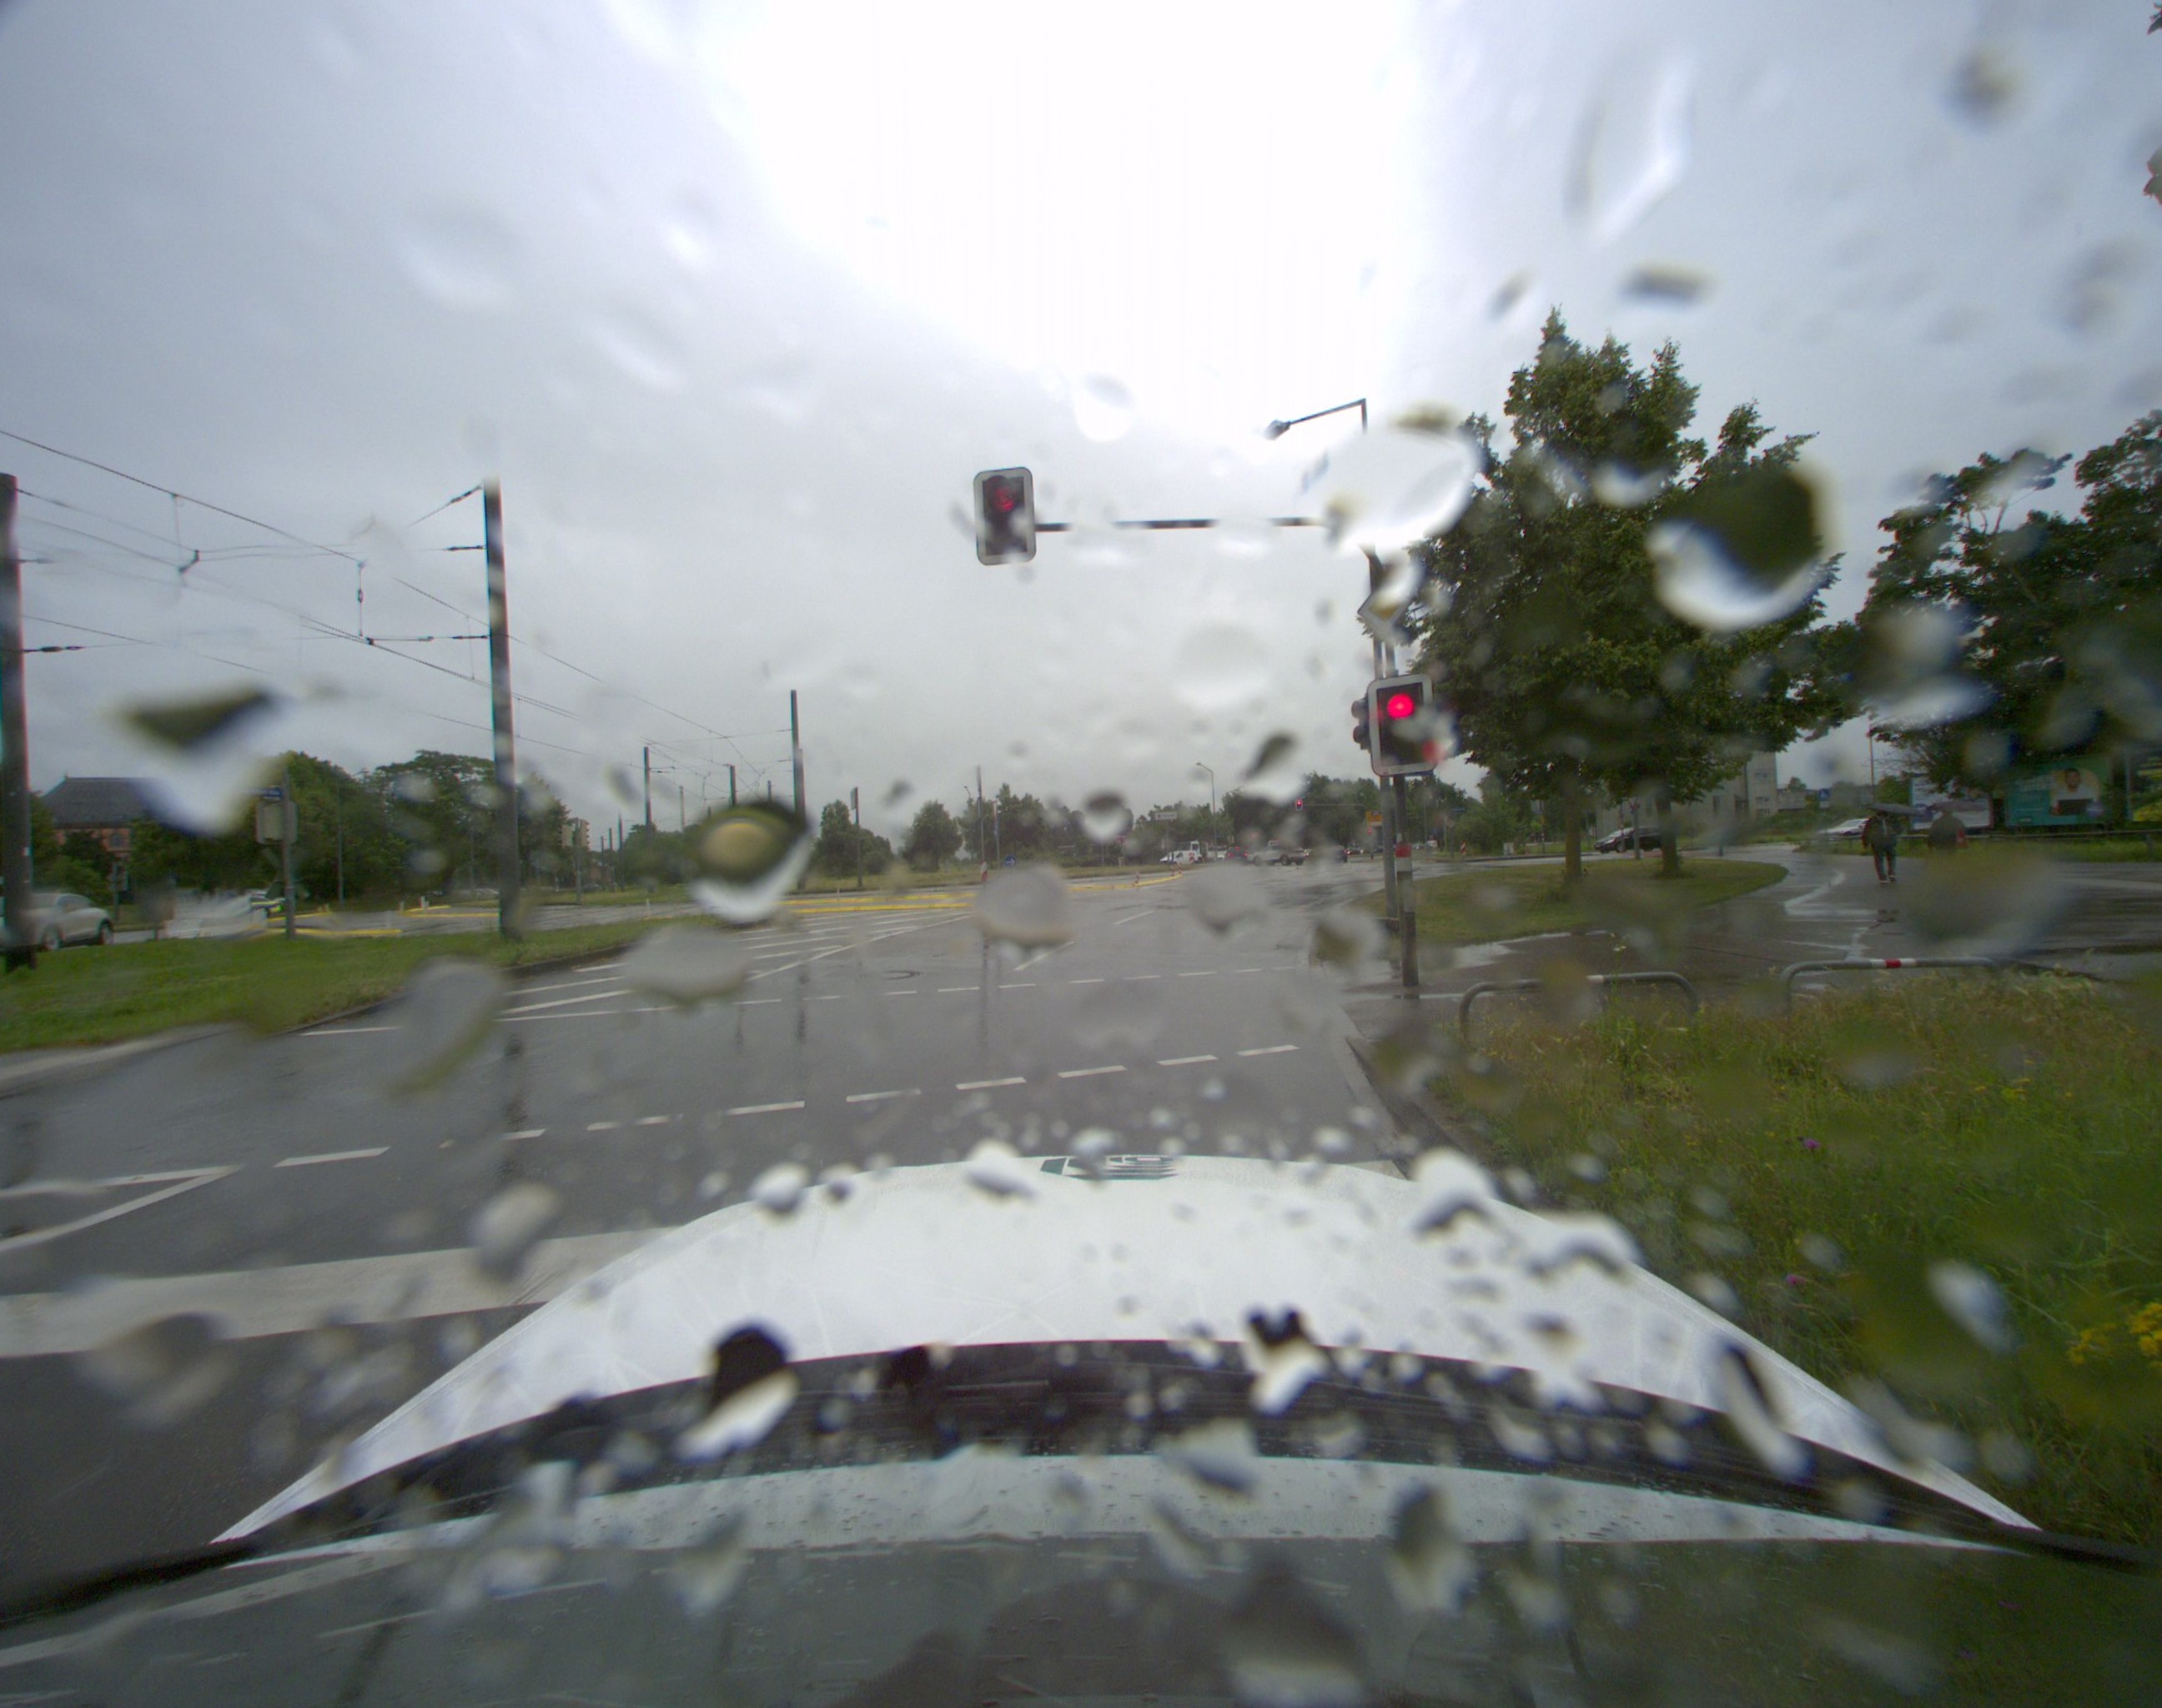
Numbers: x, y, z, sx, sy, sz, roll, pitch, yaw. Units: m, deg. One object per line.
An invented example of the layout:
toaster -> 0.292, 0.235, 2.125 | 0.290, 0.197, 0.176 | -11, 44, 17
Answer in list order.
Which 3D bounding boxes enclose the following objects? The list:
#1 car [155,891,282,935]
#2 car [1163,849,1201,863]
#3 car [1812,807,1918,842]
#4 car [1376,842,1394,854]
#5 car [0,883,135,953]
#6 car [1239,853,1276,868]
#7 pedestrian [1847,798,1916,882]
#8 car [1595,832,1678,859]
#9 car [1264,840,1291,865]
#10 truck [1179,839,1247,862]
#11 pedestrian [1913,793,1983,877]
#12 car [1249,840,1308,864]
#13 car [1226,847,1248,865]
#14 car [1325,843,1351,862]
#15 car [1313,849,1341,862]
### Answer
car -> -52.073, 3.525, 49.279 | 1.975, 2.327, 4.870 | -1, -1, 26
car -> 11.344, 0.259, 91.374 | 4.574, 1.492, 1.592 | 0, -1, -43
car -> 49.768, -1.847, 51.760 | 4.804, 1.810, 1.790 | -5, 0, 1
car -> 53.335, -1.082, 142.922 | 1.771, 2.014, 3.697 | -1, -1, 39
car -> -25.840, 1.524, 20.054 | 1.856, 1.486, 4.188 | 0, -1, -28
car -> 16.406, 0.582, 75.750 | 3.137, 1.372, 1.379 | 0, -1, -24
pedestrian -> 17.607, -0.288, 17.919 | 0.811, 1.784, 0.914 | 0, -1, -33
car -> 35.011, -0.501, 51.384 | 3.971, 1.648, 1.790 | 0, -1, 2
car -> 16.353, -0.133, 67.903 | 1.774, 2.036, 4.008 | 0, -1, 7
truck -> 16.072, -0.439, 98.898 | 8.820, 2.711, 1.981 | 0, -1, -29
pedestrian -> 19.118, -0.408, 17.965 | 0.811, 1.784, 0.914 | 0, -1, -33
car -> 14.145, -0.122, 58.426 | 1.694, 1.648, 3.902 | 0, -1, -37
car -> 13.490, 0.183, 70.549 | 1.680, 1.492, 3.257 | 0, -1, 7
car -> 21.315, -0.118, 67.632 | 1.677, 1.492, 3.262 | -3, 0, 13
car -> 33.786, 0.171, 111.916 | 1.975, 1.750, 4.023 | -1, -1, 45
